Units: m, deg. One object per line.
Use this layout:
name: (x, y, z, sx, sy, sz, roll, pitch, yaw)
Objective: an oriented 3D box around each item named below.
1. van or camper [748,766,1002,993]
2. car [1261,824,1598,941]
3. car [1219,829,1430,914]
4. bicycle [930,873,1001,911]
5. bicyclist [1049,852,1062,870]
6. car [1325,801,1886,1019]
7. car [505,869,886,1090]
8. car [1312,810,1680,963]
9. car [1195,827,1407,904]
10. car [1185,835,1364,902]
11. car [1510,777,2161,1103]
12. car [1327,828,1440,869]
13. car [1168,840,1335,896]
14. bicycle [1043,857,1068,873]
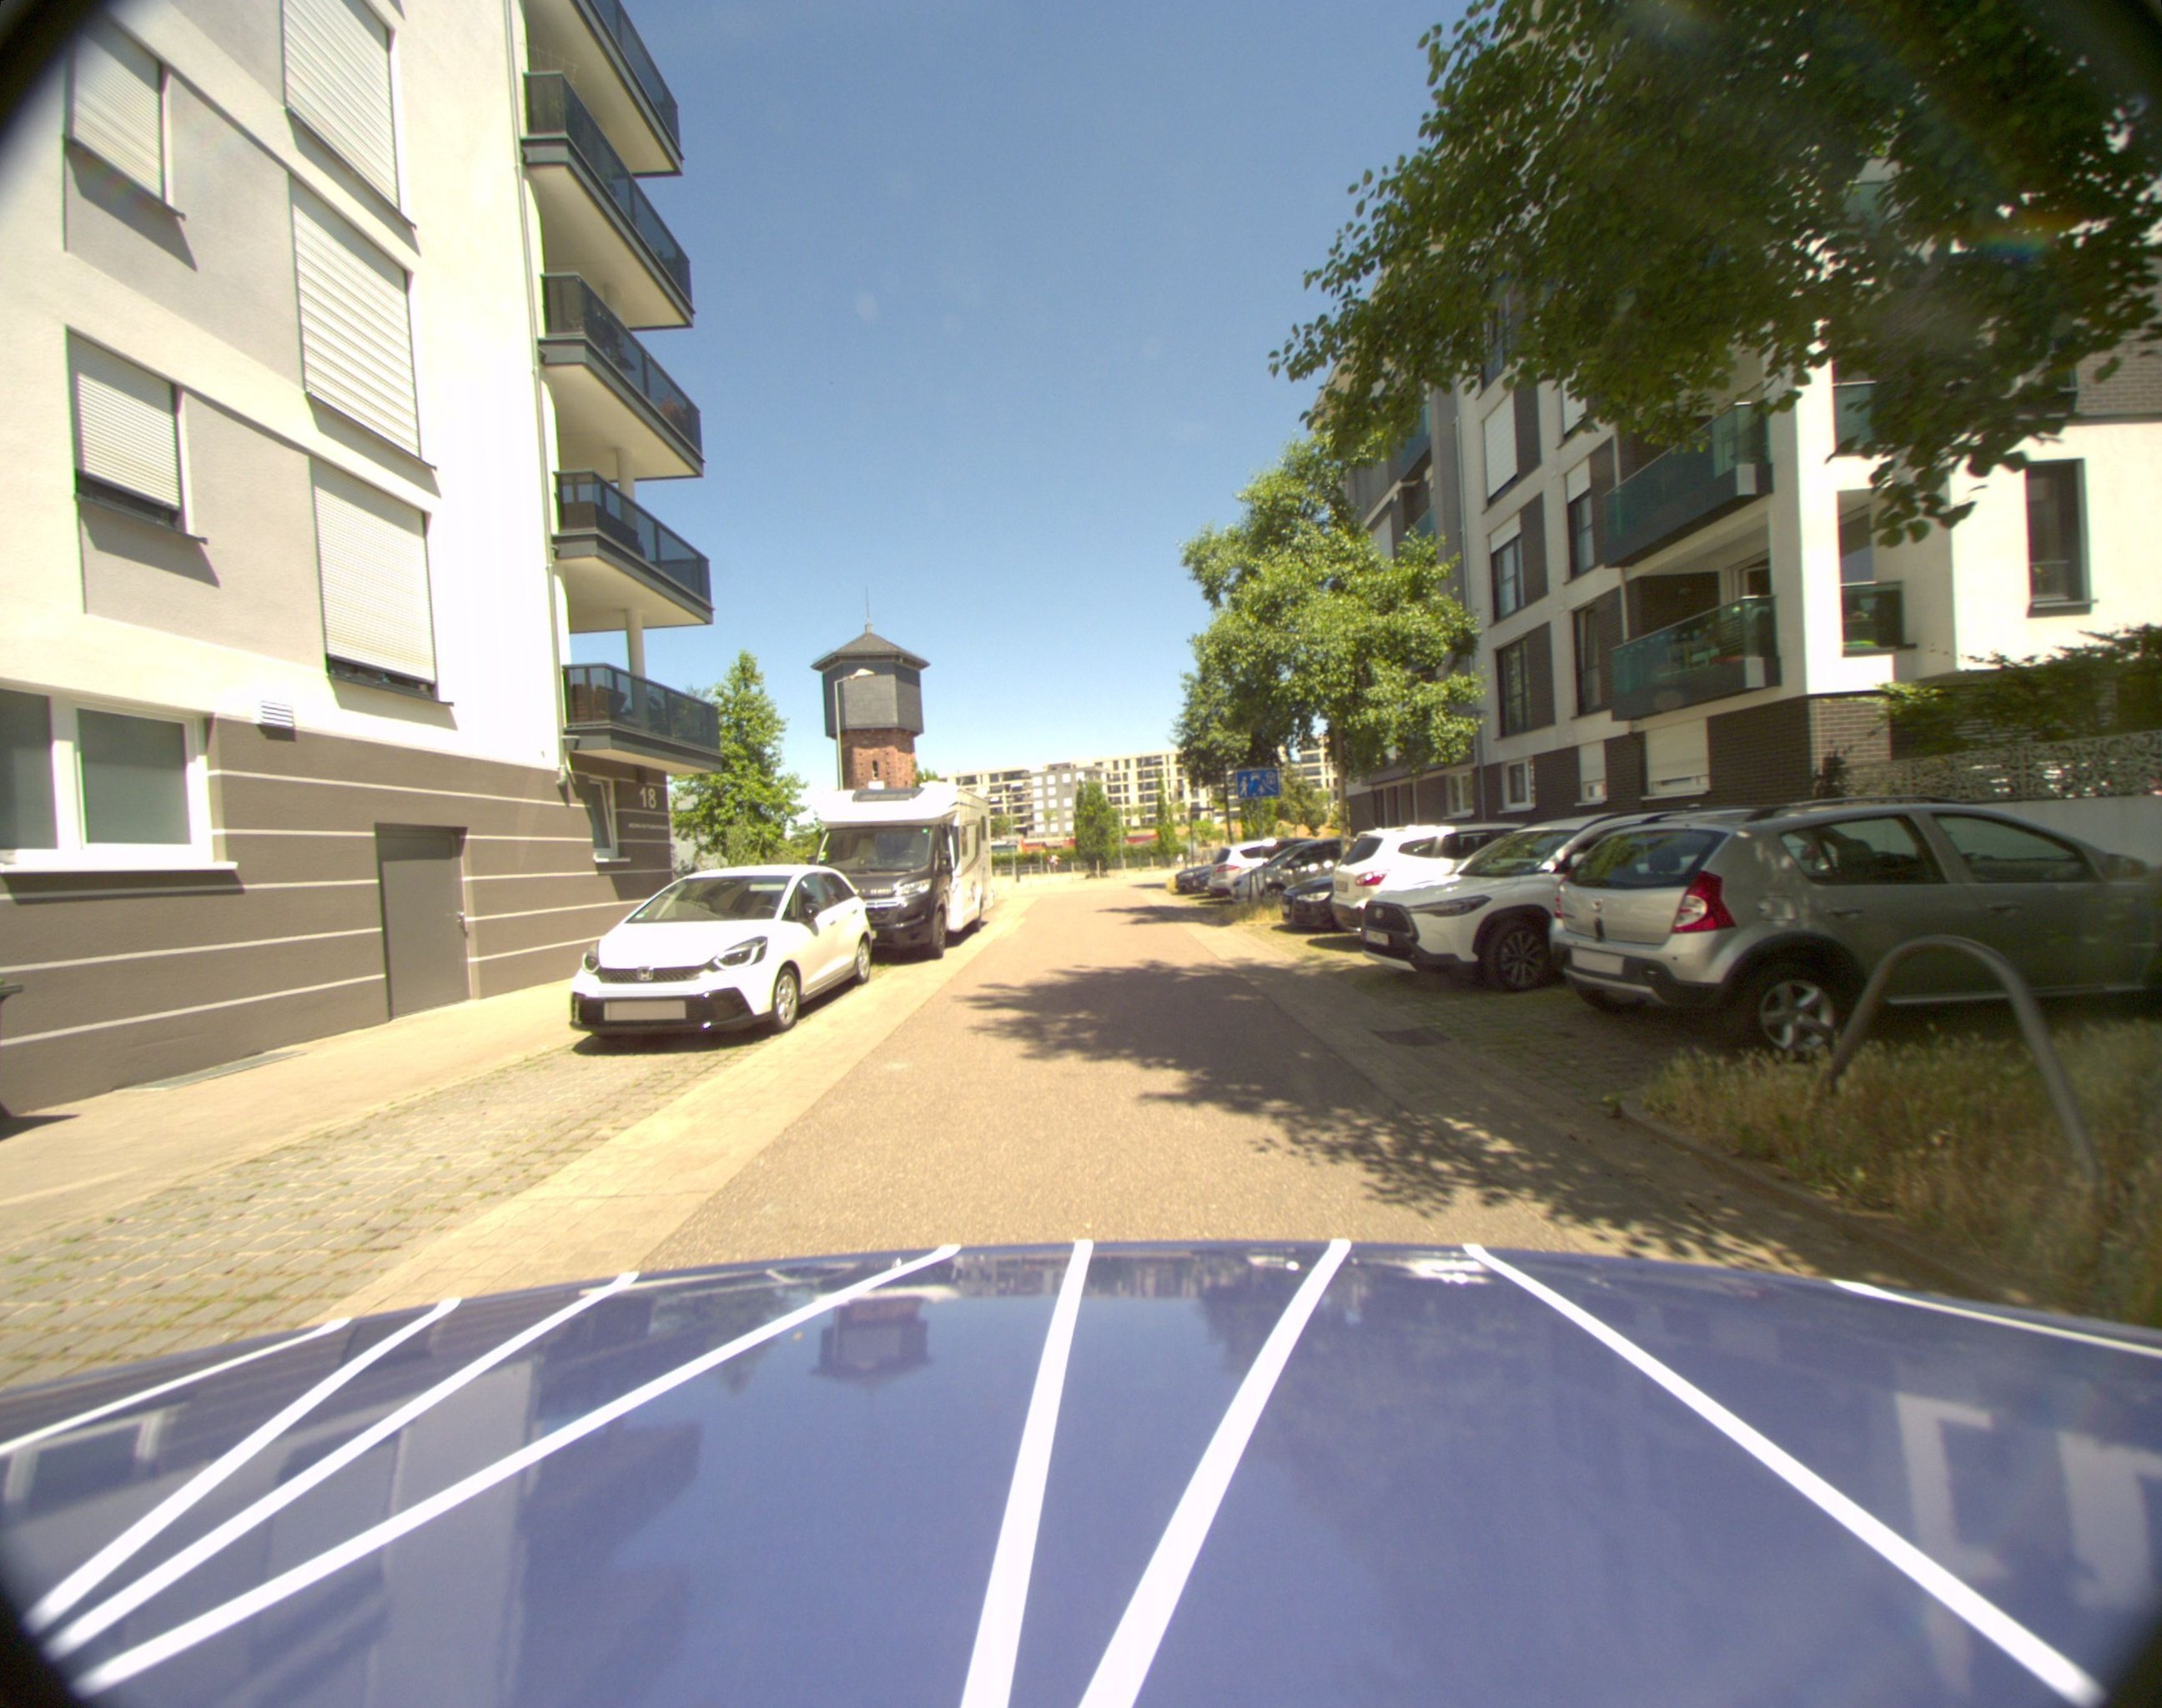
van or camper: (-3.181, 0.278, 14.186, 2.445, 2.889, 7.824, -4, 1, 0)
car: (5.789, 0.449, 13.085, 4.862, 1.448, 1.829, -5, 1, 1)
car: (5.614, 0.392, 17.868, 4.262, 1.522, 1.822, -5, 0, -2)
bicycle: (-3.491, 1.137, 22.848, 2.033, 0.997, 0.874, -3, 1, -11)
bicyclist: (-2.084, 0.571, 62.603, 0.659, 1.426, 0.734, -4, 1, 30)
car: (5.241, 0.492, 8.015, 4.571, 1.585, 1.965, -5, 1, -4)
car: (-3.474, 1.000, 7.914, 1.812, 1.496, 4.260, -2, 1, -1)
car: (5.554, 0.411, 10.642, 3.989, 1.620, 1.950, -5, 1, 3)
car: (5.827, 0.285, 20.583, 5.042, 1.623, 2.042, -4, 0, -2)
car: (5.760, 0.399, 23.003, 4.831, 1.441, 1.827, -6, 1, -2)
car: (5.450, 0.468, 5.373, 3.689, 1.666, 1.852, -5, 1, 0)
car: (13.754, -0.231, 34.705, 4.395, 1.510, 1.779, -4, -1, -5)
car: (5.661, 0.443, 25.648, 5.112, 1.476, 1.927, -4, 1, -2)
bicycle: (-2.077, 0.922, 62.588, 1.937, 1.192, 0.592, -4, 1, 30)
